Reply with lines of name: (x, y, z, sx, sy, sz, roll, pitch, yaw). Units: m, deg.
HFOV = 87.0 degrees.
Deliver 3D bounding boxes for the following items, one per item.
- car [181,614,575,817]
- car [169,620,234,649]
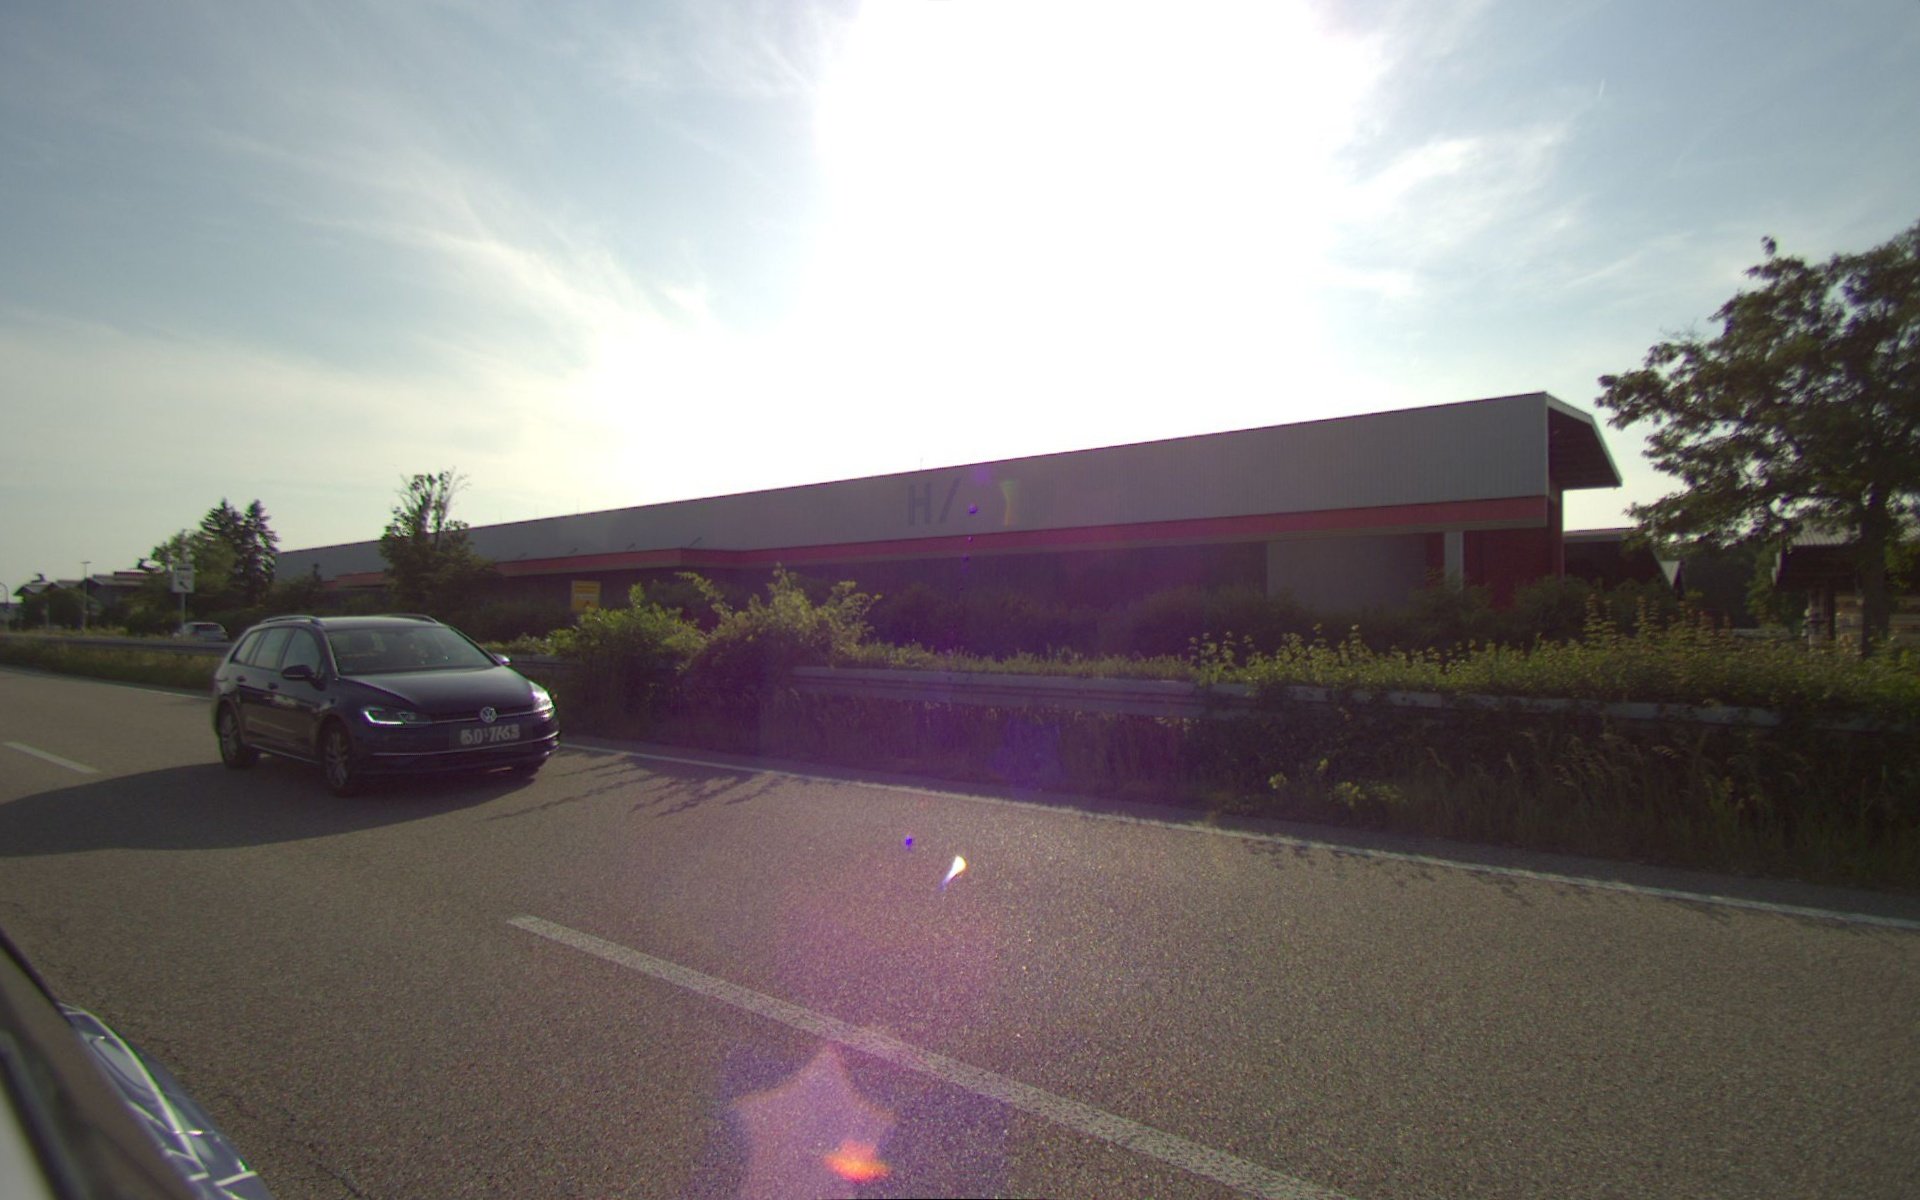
car: (-5.663, 0.903, 9.563, 4.771, 1.482, 1.630, -1, -2, 39)
car: (-39.734, 1.792, 52.991, 3.996, 1.435, 1.762, -1, -2, 39)
